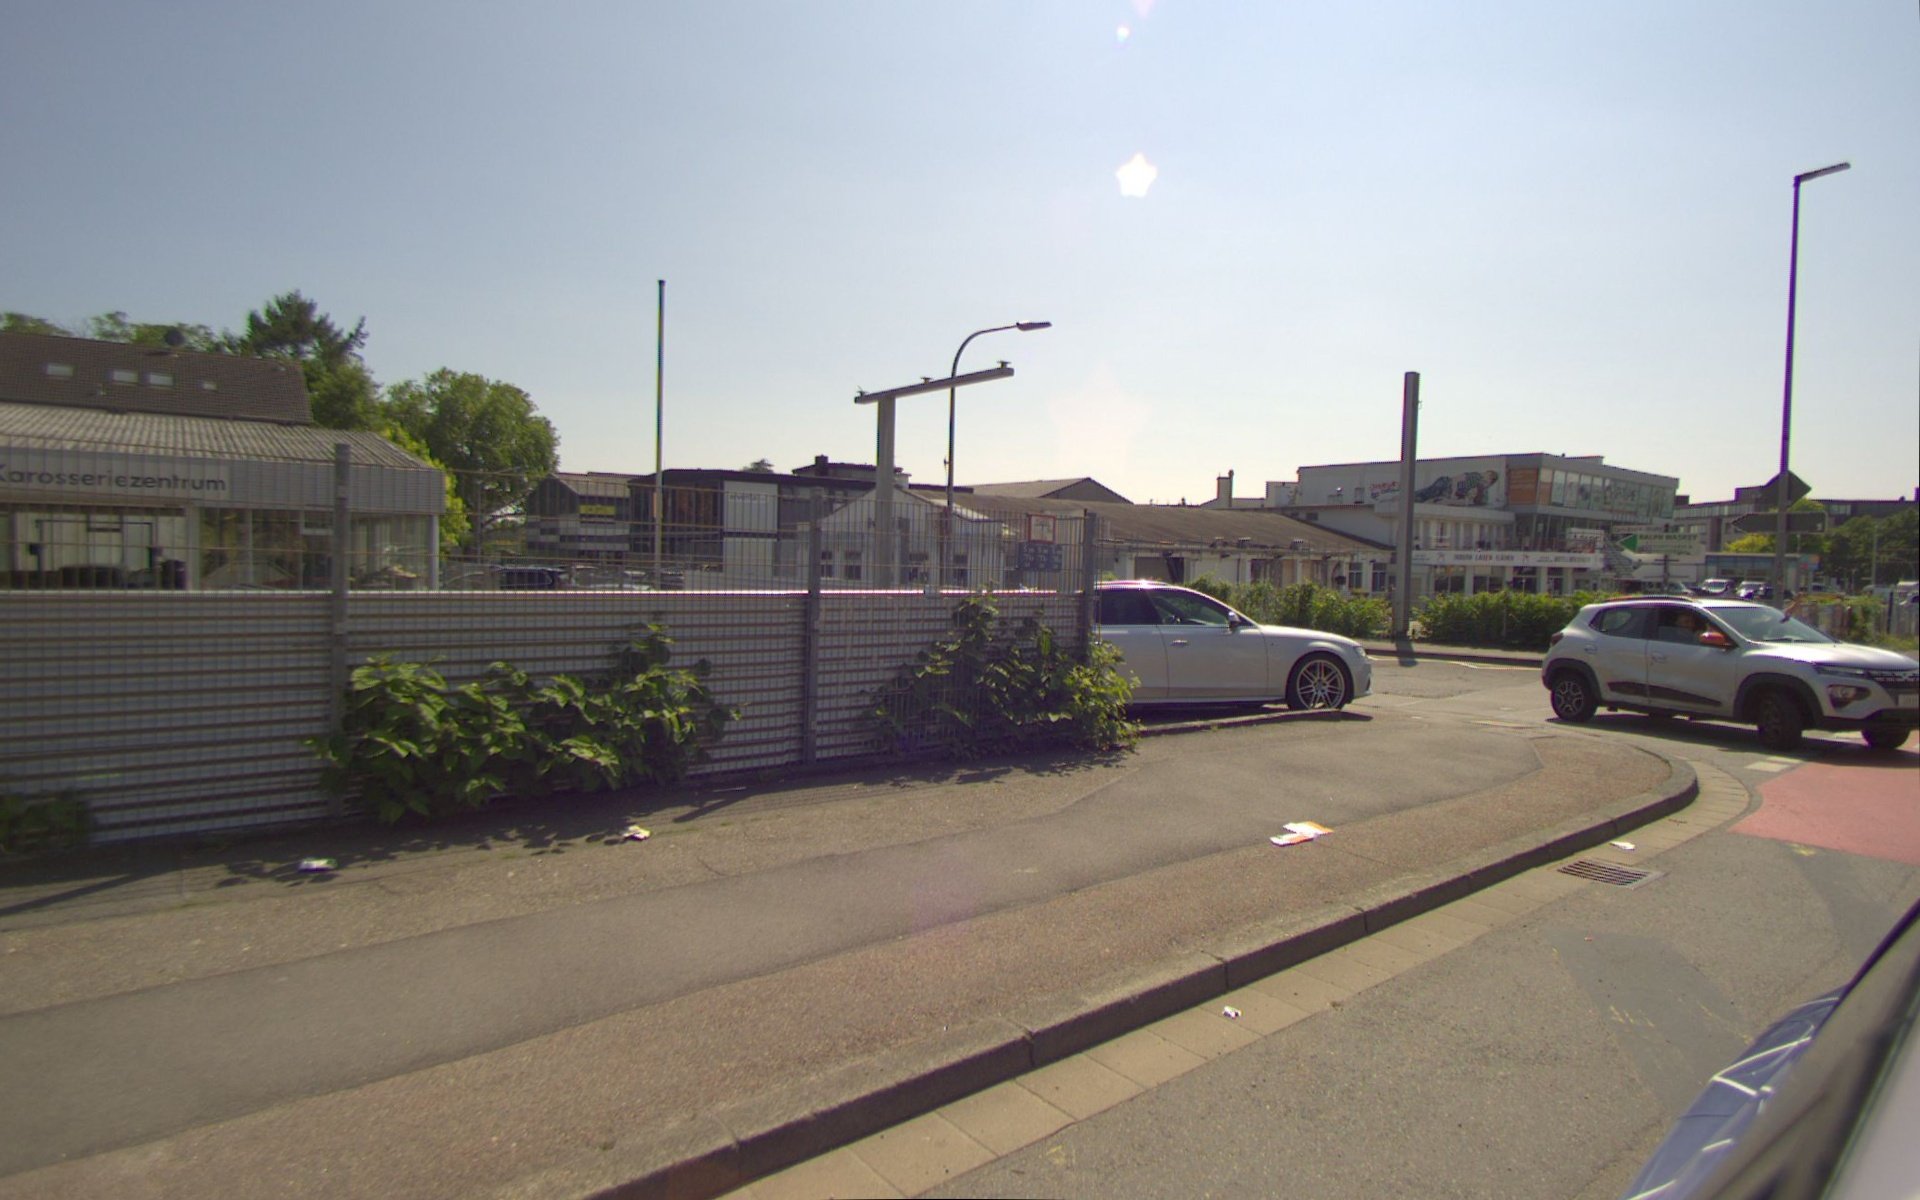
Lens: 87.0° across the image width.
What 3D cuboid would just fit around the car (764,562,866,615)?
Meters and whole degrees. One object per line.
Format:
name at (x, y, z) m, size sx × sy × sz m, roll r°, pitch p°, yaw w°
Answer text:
car at (-5.572, -0.461, 38.626) m, size 1.966 × 1.816 × 3.994 m, roll 1°, pitch 2°, yaw -42°

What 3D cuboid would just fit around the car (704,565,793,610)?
car at (-8.928, -0.535, 42.545) m, size 1.966 × 1.816 × 3.993 m, roll 1°, pitch 1°, yaw -42°

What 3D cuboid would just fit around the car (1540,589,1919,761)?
car at (8.506, 0.656, 11.011) m, size 1.691 × 1.503 × 3.685 m, roll 0°, pitch 1°, yaw -15°

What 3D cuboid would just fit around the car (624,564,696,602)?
car at (-15.112, -0.862, 50.816) m, size 1.966 × 1.794 × 3.994 m, roll 0°, pitch 2°, yaw -42°

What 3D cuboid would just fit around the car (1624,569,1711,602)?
car at (56.962, -1.197, 81.530) m, size 2.287 × 2.448 × 5.305 m, roll 0°, pitch 3°, yaw -43°

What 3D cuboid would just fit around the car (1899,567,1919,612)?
car at (64.474, -0.541, 64.651) m, size 2.277 × 2.904 × 6.247 m, roll 0°, pitch 3°, yaw -37°

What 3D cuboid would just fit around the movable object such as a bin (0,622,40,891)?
movable object such as a bin at (-8.495, 1.240, 7.602) m, size 1.964 × 2.039 × 5.127 m, roll 0°, pitch 0°, yaw -38°

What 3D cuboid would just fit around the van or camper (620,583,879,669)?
van or camper at (-3.762, 0.466, 18.380) m, size 4.154 × 1.369 × 1.996 m, roll 0°, pitch -3°, yaw -40°

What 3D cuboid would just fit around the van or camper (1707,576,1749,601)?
van or camper at (66.540, -0.978, 87.708) m, size 5.031 × 2.038 × 2.119 m, roll 0°, pitch 3°, yaw -44°

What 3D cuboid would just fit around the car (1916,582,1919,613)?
car at (62.831, 0.019, 62.478) m, size 1.964 × 1.975 × 5.249 m, roll 0°, pitch 3°, yaw -38°

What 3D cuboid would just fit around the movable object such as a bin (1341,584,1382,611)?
movable object such as a bin at (23.333, -0.149, 58.832) m, size 1.794 × 1.473 × 1.572 m, roll 0°, pitch 2°, yaw -43°

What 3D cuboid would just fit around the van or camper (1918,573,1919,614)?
van or camper at (67.091, -0.266, 65.984) m, size 2.663 × 2.733 × 6.367 m, roll 0°, pitch 3°, yaw -38°

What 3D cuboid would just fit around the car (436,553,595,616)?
car at (-13.116, -0.447, 30.081) m, size 3.918 × 1.668 × 2.003 m, roll 2°, pitch 0°, yaw -9°

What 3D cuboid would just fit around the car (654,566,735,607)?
car at (-12.238, -0.627, 46.480) m, size 1.966 × 1.682 × 3.994 m, roll 1°, pitch 2°, yaw -42°

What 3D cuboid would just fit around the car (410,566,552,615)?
car at (-15.246, -0.314, 32.384) m, size 3.746 × 1.482 × 1.797 m, roll 0°, pitch 0°, yaw -9°

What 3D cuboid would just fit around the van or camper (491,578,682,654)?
van or camper at (-9.041, 0.344, 24.866) m, size 4.141 × 1.560 × 2.007 m, roll 0°, pitch 7°, yaw -12°

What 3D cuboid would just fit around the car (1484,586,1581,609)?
car at (33.098, -0.166, 58.604) m, size 4.471 × 1.306 × 1.894 m, roll 0°, pitch 1°, yaw 3°

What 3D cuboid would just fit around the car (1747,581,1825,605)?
car at (65.593, -0.556, 80.420) m, size 1.966 × 1.698 × 4.546 m, roll 0°, pitch 3°, yaw -42°

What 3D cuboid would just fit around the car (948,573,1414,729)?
car at (2.214, 0.489, 10.816) m, size 4.405 × 1.376 × 1.960 m, roll -1°, pitch -1°, yaw -9°

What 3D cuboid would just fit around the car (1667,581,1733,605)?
car at (61.884, -0.596, 84.681) m, size 1.966 × 1.754 × 4.113 m, roll 0°, pitch 3°, yaw -42°

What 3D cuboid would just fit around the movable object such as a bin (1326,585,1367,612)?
movable object such as a bin at (22.002, -0.106, 57.616) m, size 1.725 × 1.473 × 1.572 m, roll 0°, pitch 2°, yaw -43°

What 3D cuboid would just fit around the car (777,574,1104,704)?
car at (-0.165, 0.453, 14.345) m, size 4.425 × 1.523 × 1.852 m, roll 0°, pitch 2°, yaw -39°

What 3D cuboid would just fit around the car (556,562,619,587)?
car at (-27.363, -1.869, 74.374) m, size 3.926 × 1.670 × 1.763 m, roll 1°, pitch 2°, yaw -37°
